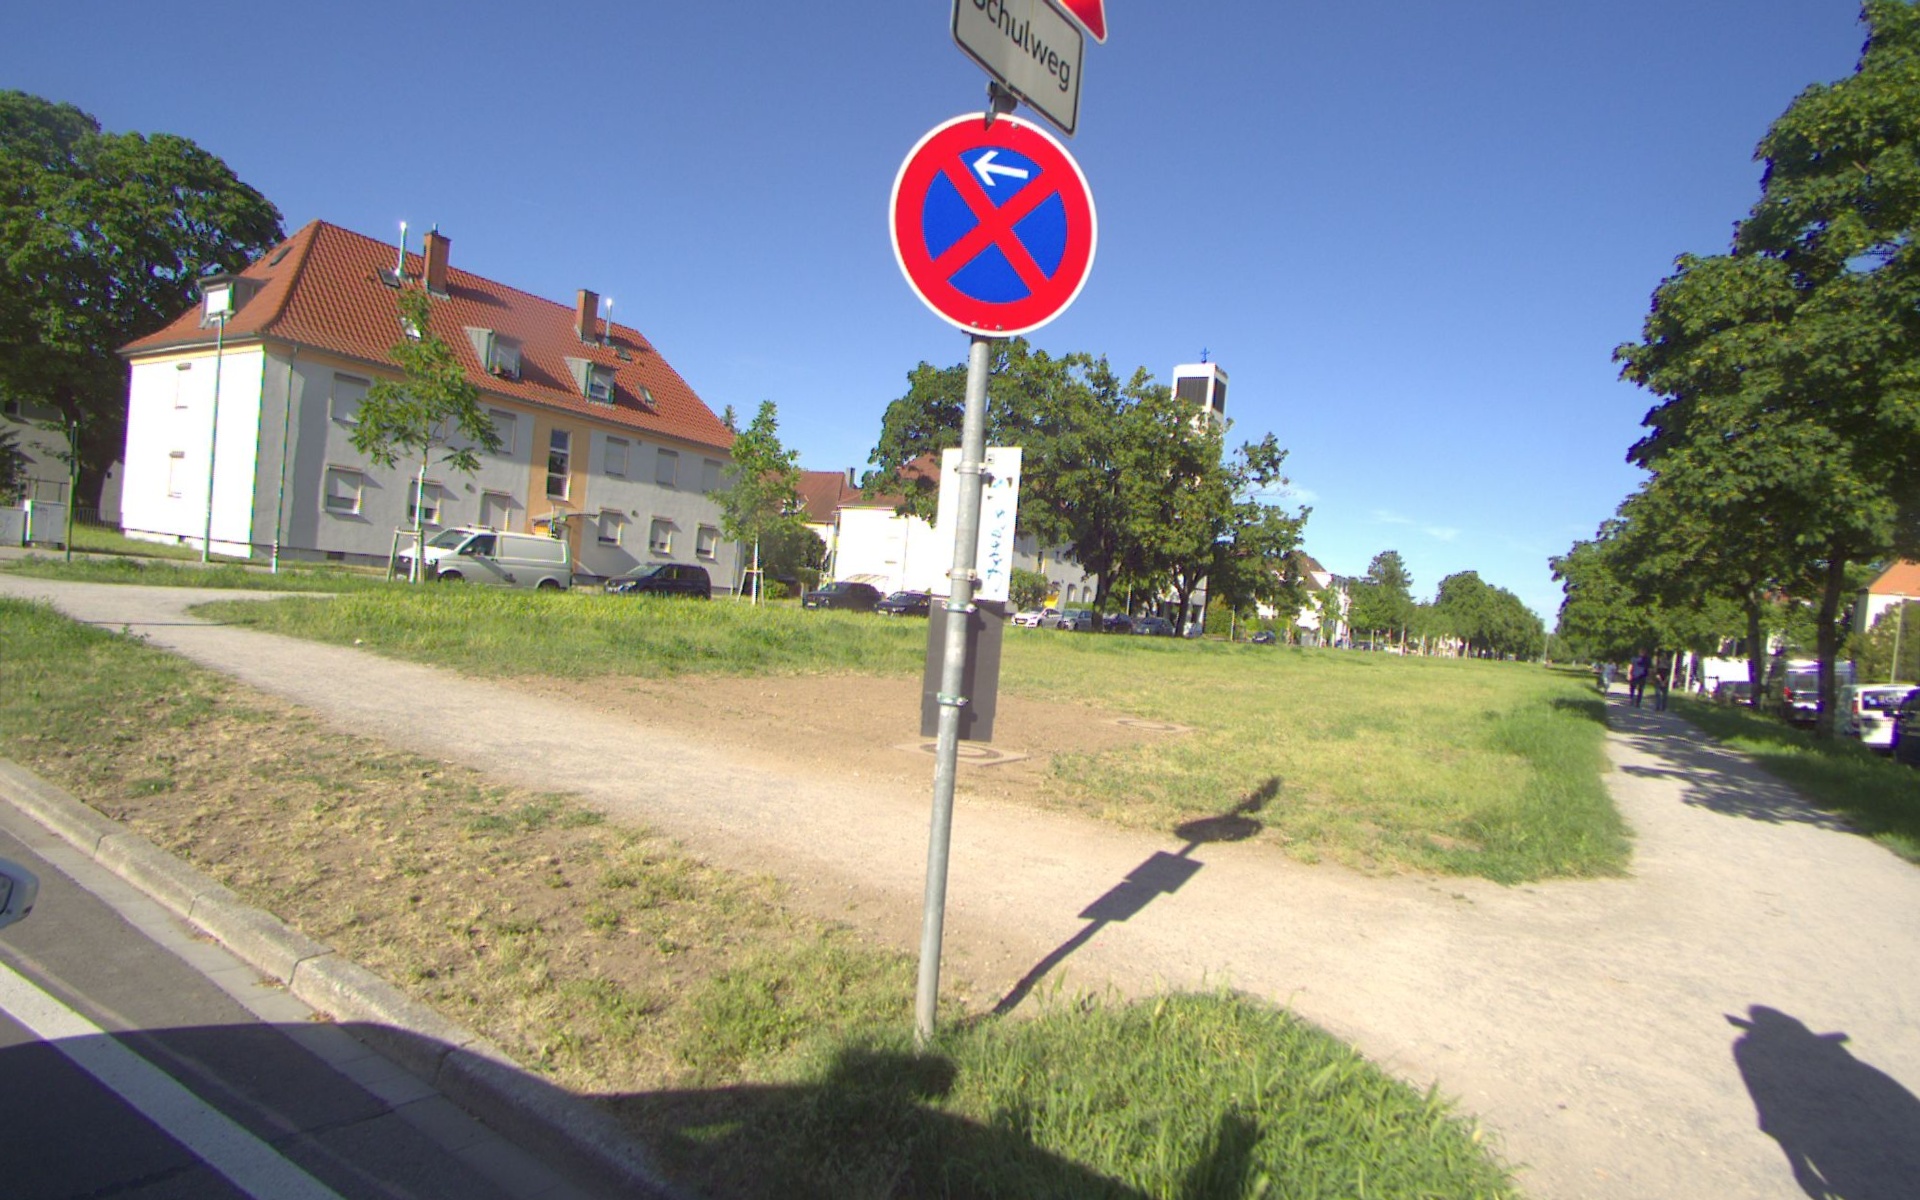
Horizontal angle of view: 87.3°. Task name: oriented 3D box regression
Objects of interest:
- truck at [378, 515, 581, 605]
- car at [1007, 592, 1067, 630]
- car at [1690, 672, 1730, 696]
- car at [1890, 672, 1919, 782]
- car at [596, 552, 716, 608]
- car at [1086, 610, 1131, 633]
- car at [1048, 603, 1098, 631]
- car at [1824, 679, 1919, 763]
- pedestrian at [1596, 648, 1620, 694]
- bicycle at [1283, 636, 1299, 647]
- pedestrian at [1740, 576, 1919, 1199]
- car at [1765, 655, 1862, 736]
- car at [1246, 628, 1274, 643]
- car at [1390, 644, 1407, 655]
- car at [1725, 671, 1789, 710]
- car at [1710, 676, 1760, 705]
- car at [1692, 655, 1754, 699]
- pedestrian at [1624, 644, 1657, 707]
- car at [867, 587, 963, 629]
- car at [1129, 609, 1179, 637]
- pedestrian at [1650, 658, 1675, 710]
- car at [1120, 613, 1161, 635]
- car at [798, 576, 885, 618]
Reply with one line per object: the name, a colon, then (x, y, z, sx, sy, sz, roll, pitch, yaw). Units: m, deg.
truck: (-13.670, -1.081, 28.917, 1.967, 2.062, 4.860, 7, 1, 33)
car: (4.881, 0.691, 63.362, 1.842, 2.039, 4.243, 6, 1, 33)
car: (56.575, 6.326, 75.931, 2.048, 1.484, 4.712, 6, 1, 34)
car: (19.858, 2.531, 19.698, 1.757, 2.109, 3.981, 1, -2, 34)
car: (-11.336, -0.722, 37.724, 1.694, 1.685, 4.052, 7, 1, 33)
car: (10.700, 1.563, 72.274, 1.694, 1.359, 3.797, 6, 1, 33)
car: (7.613, 1.149, 67.394, 1.694, 1.517, 3.797, 6, 1, 33)
car: (24.342, 3.129, 26.588, 1.849, 1.907, 4.407, 1, -2, 35)
pedestrian: (28.532, 3.119, 44.303, 0.712, 1.901, 0.627, 7, 2, 32)
bicycle: (34.711, 4.347, 105.507, 1.036, 0.949, 2.758, 6, 1, 28)
pedestrian: (2.249, 0.864, 1.764, 0.896, 1.699, 1.088, 6, 6, 16)
car: (30.705, 3.363, 36.324, 2.160, 2.616, 4.274, 1, -2, 34)
car: (31.354, 3.699, 105.169, 1.694, 1.359, 3.797, 6, 1, 33)
car: (66.290, 7.520, 152.062, 1.694, 1.359, 3.797, 6, 1, 33)
car: (40.429, 4.559, 51.109, 2.053, 1.619, 4.274, 6, 1, 34)
car: (44.425, 5.165, 57.743, 1.904, 1.362, 4.096, 6, 1, 34)
car: (47.870, 4.784, 63.235, 2.511, 2.364, 5.900, 6, 1, 34)
pedestrian: (21.429, 2.376, 31.694, 0.634, 1.901, 0.627, 7, 2, 32)
car: (-2.001, 0.391, 46.088, 1.967, 1.544, 4.743, 6, 1, 32)
car: (13.693, 1.647, 70.718, 1.858, 1.629, 4.234, 6, 1, 34)
pedestrian: (21.742, 2.597, 31.142, 0.489, 1.525, 0.533, 7, 2, 33)
car: (13.849, 1.870, 77.054, 1.694, 1.359, 3.797, 6, 1, 33)
car: (-5.458, -0.124, 46.779, 1.694, 1.603, 4.128, 7, 1, 33)
